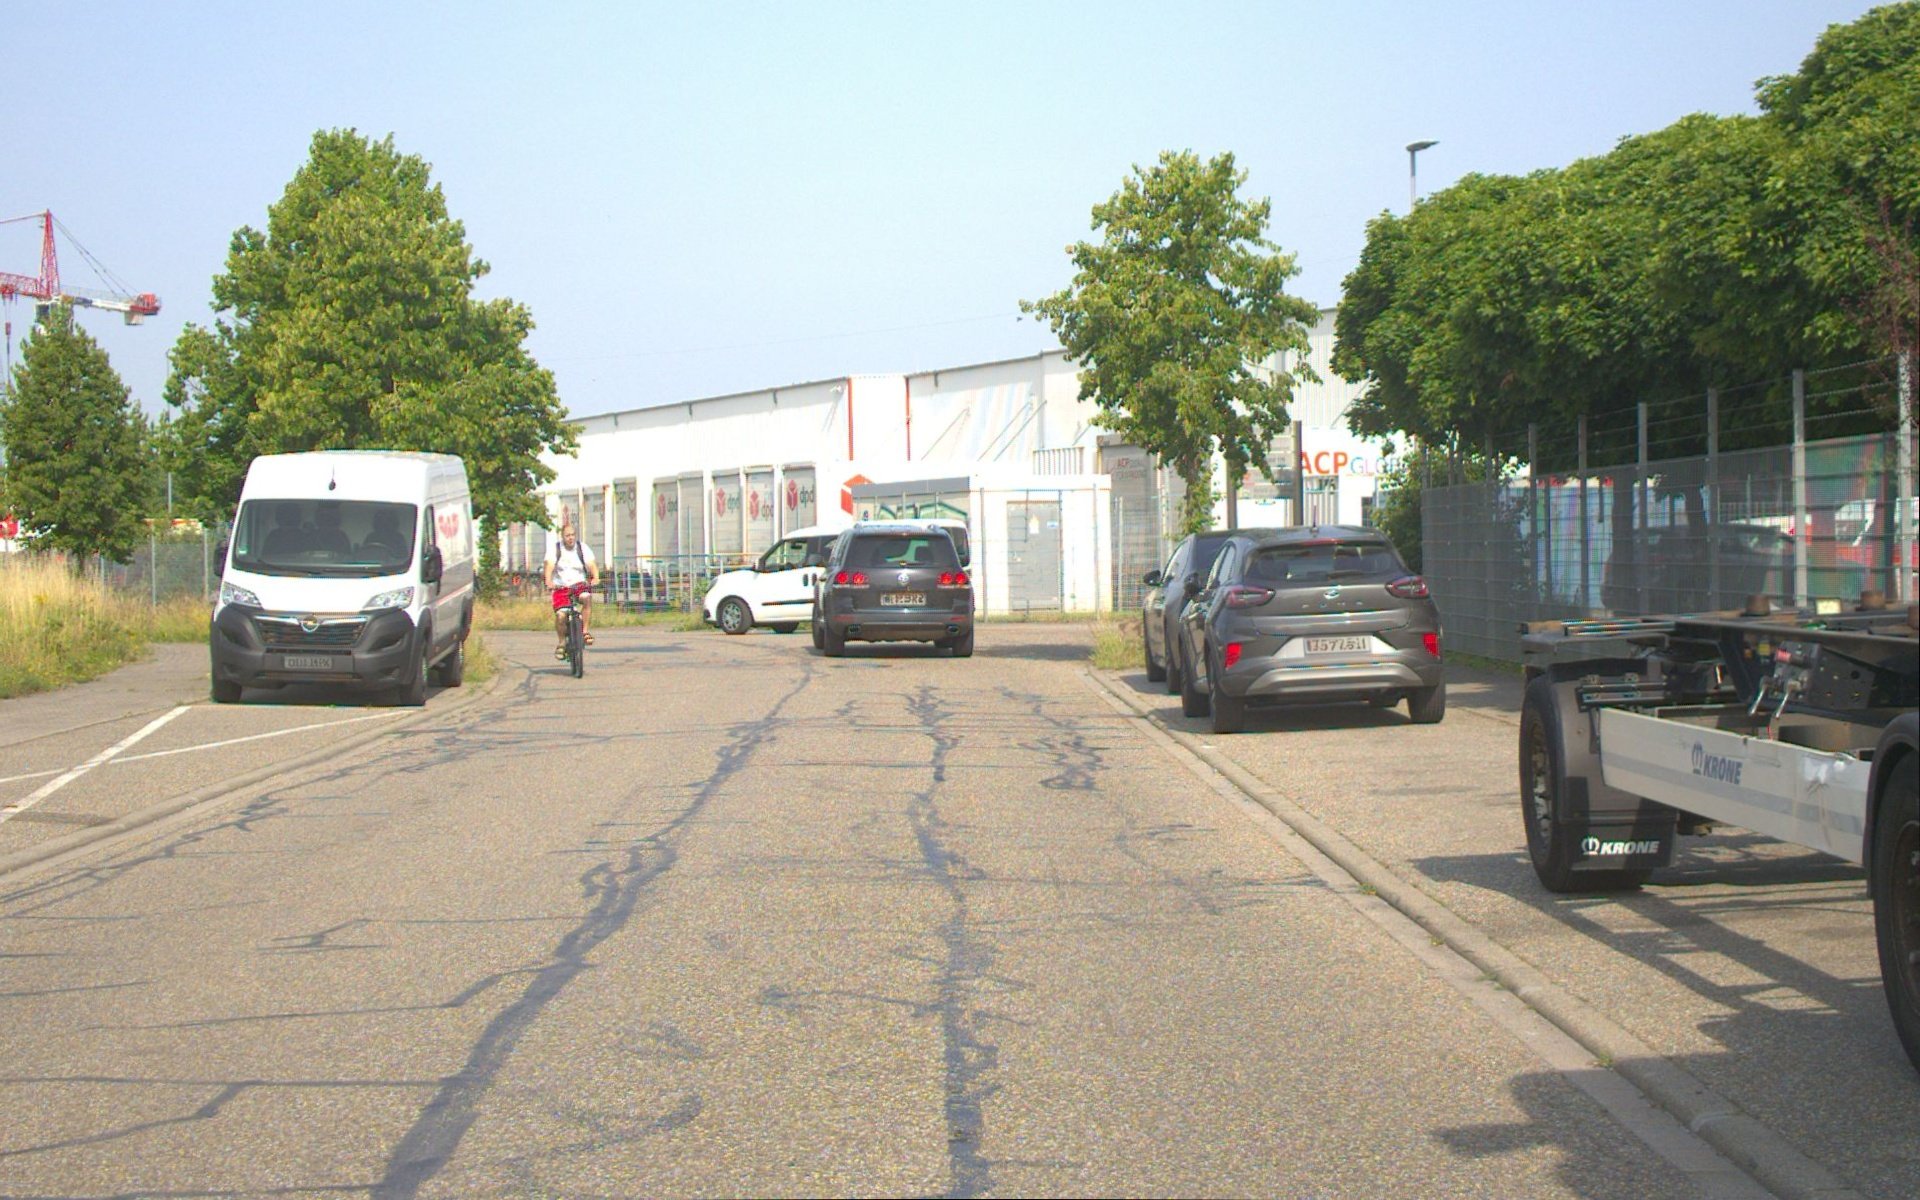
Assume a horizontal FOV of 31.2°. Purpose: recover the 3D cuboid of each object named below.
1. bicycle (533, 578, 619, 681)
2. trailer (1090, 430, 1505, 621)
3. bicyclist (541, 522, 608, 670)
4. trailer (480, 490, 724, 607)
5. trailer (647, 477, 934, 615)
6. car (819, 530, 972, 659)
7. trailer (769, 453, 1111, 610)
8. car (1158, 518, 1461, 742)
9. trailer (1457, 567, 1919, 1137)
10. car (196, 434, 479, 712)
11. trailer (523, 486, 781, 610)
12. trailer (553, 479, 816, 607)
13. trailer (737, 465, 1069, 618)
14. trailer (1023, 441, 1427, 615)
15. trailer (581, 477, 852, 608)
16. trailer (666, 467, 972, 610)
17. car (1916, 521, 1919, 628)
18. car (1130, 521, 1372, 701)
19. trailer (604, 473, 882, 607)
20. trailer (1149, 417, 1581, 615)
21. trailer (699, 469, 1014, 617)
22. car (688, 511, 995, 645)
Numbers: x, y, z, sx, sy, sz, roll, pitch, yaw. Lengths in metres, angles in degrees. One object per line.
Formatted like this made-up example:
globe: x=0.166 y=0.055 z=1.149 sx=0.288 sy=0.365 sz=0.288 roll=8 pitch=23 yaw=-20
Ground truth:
bicycle: x=-4.510 y=0.332 z=40.511 sx=0.716 sy=1.118 sz=2.219 roll=-3 pitch=1 yaw=0
trailer: x=7.320 y=-1.641 z=74.351 sx=8.534 sy=3.880 sz=2.776 roll=-2 pitch=1 yaw=-22
bicyclist: x=-4.532 y=-0.057 z=40.453 sx=0.639 sy=1.713 sz=1.165 roll=-1 pitch=1 yaw=0
trailer: x=-12.522 y=-1.771 z=120.486 sx=7.960 sy=3.880 sz=2.776 roll=1 pitch=1 yaw=-24
trailer: x=-5.071 y=-1.588 z=102.959 sx=8.031 sy=3.880 sz=2.776 roll=1 pitch=1 yaw=-24
car: x=-0.830 y=-0.079 z=44.997 sx=1.880 sy=1.581 sz=4.113 roll=-1 pitch=0 yaw=-1
trailer: x=-0.505 y=-1.768 z=90.547 sx=8.534 sy=3.880 sz=2.776 roll=1 pitch=1 yaw=-24
car: x=2.676 y=0.208 z=27.207 sx=1.880 sy=1.568 sz=4.113 roll=-2 pitch=0 yaw=-1
trailer: x=3.232 y=0.584 z=11.428 sx=1.938 sy=1.231 sz=7.452 roll=-3 pitch=1 yaw=-1
car: x=-6.373 y=-0.312 z=35.937 sx=2.102 sy=2.586 sz=6.505 roll=2 pitch=1 yaw=-4
trailer: x=-10.217 y=-1.708 z=114.080 sx=7.960 sy=3.880 sz=2.776 roll=1 pitch=1 yaw=-24
trailer: x=-8.907 y=-1.820 z=111.310 sx=7.960 sy=3.880 sz=2.776 roll=1 pitch=1 yaw=-24
trailer: x=-1.530 y=-1.558 z=93.560 sx=8.534 sy=3.880 sz=2.776 roll=1 pitch=1 yaw=-24
trailer: x=5.967 y=-1.577 z=77.102 sx=8.730 sy=3.748 sz=2.791 roll=0 pitch=0 yaw=-24
trailer: x=-7.635 y=-1.797 z=108.124 sx=7.960 sy=3.880 sz=2.776 roll=1 pitch=1 yaw=-24
trailer: x=-4.041 y=-1.737 z=99.147 sx=8.305 sy=3.880 sz=2.776 roll=1 pitch=1 yaw=-24
car: x=16.866 y=-0.389 z=52.184 sx=4.253 sy=1.620 sz=1.878 roll=-1 pitch=2 yaw=-22
car: x=2.800 y=0.084 z=34.135 sx=1.880 sy=1.568 sz=5.118 roll=-2 pitch=0 yaw=0
trailer: x=-6.646 y=-1.806 z=105.359 sx=7.960 sy=3.880 sz=2.776 roll=1 pitch=1 yaw=-24
trailer: x=8.441 y=-1.719 z=71.564 sx=8.534 sy=3.881 sz=2.776 roll=-1 pitch=-2 yaw=-22
trailer: x=-2.872 y=-1.557 z=96.135 sx=8.305 sy=3.880 sz=2.776 roll=1 pitch=1 yaw=-24
car: x=-1.972 y=-0.356 z=57.261 sx=4.614 sy=2.103 sz=2.126 roll=-1 pitch=0 yaw=22
